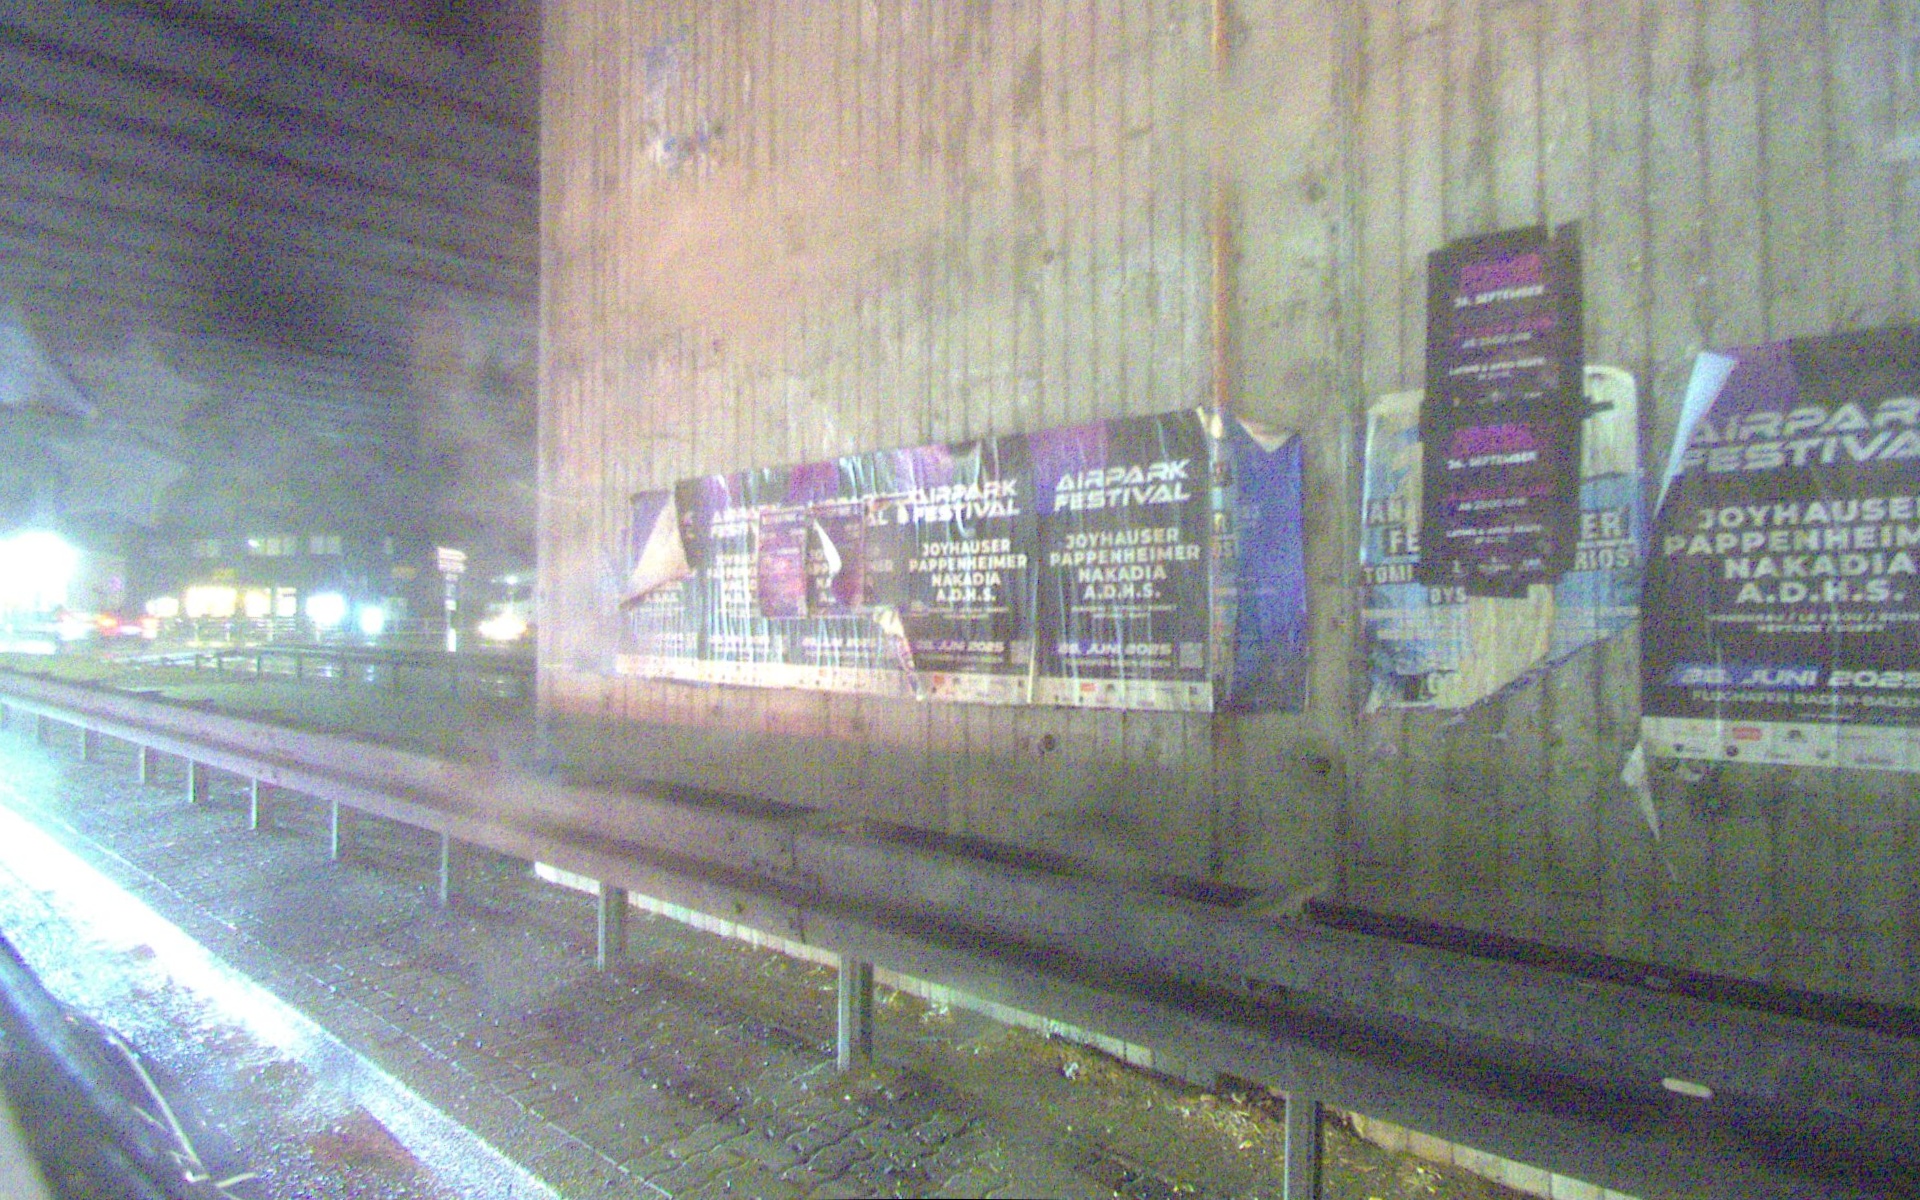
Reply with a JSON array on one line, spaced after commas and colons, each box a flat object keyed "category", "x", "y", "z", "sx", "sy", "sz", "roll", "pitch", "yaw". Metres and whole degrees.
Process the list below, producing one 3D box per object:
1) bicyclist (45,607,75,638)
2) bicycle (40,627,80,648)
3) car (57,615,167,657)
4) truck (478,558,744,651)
[{"category": "bicyclist", "x": -42.331, "y": 1.059, "z": 47.590, "sx": 1.182, "sy": 1.446, "sz": 0.624, "roll": 0, "pitch": -2, "yaw": 26}, {"category": "bicycle", "x": -42.318, "y": 1.757, "z": 47.561, "sx": 2.202, "sy": 0.912, "sz": 0.623, "roll": 0, "pitch": -2, "yaw": 27}, {"category": "car", "x": -32.253, "y": 1.329, "z": 38.466, "sx": 4.486, "sy": 1.498, "sz": 2.018, "roll": 0, "pitch": -2, "yaw": 34}, {"category": "truck", "x": -18.100, "y": 0.236, "z": 53.870, "sx": 13.480, "sy": 4.474, "sz": 2.746, "roll": 0, "pitch": -1, "yaw": -43}]
